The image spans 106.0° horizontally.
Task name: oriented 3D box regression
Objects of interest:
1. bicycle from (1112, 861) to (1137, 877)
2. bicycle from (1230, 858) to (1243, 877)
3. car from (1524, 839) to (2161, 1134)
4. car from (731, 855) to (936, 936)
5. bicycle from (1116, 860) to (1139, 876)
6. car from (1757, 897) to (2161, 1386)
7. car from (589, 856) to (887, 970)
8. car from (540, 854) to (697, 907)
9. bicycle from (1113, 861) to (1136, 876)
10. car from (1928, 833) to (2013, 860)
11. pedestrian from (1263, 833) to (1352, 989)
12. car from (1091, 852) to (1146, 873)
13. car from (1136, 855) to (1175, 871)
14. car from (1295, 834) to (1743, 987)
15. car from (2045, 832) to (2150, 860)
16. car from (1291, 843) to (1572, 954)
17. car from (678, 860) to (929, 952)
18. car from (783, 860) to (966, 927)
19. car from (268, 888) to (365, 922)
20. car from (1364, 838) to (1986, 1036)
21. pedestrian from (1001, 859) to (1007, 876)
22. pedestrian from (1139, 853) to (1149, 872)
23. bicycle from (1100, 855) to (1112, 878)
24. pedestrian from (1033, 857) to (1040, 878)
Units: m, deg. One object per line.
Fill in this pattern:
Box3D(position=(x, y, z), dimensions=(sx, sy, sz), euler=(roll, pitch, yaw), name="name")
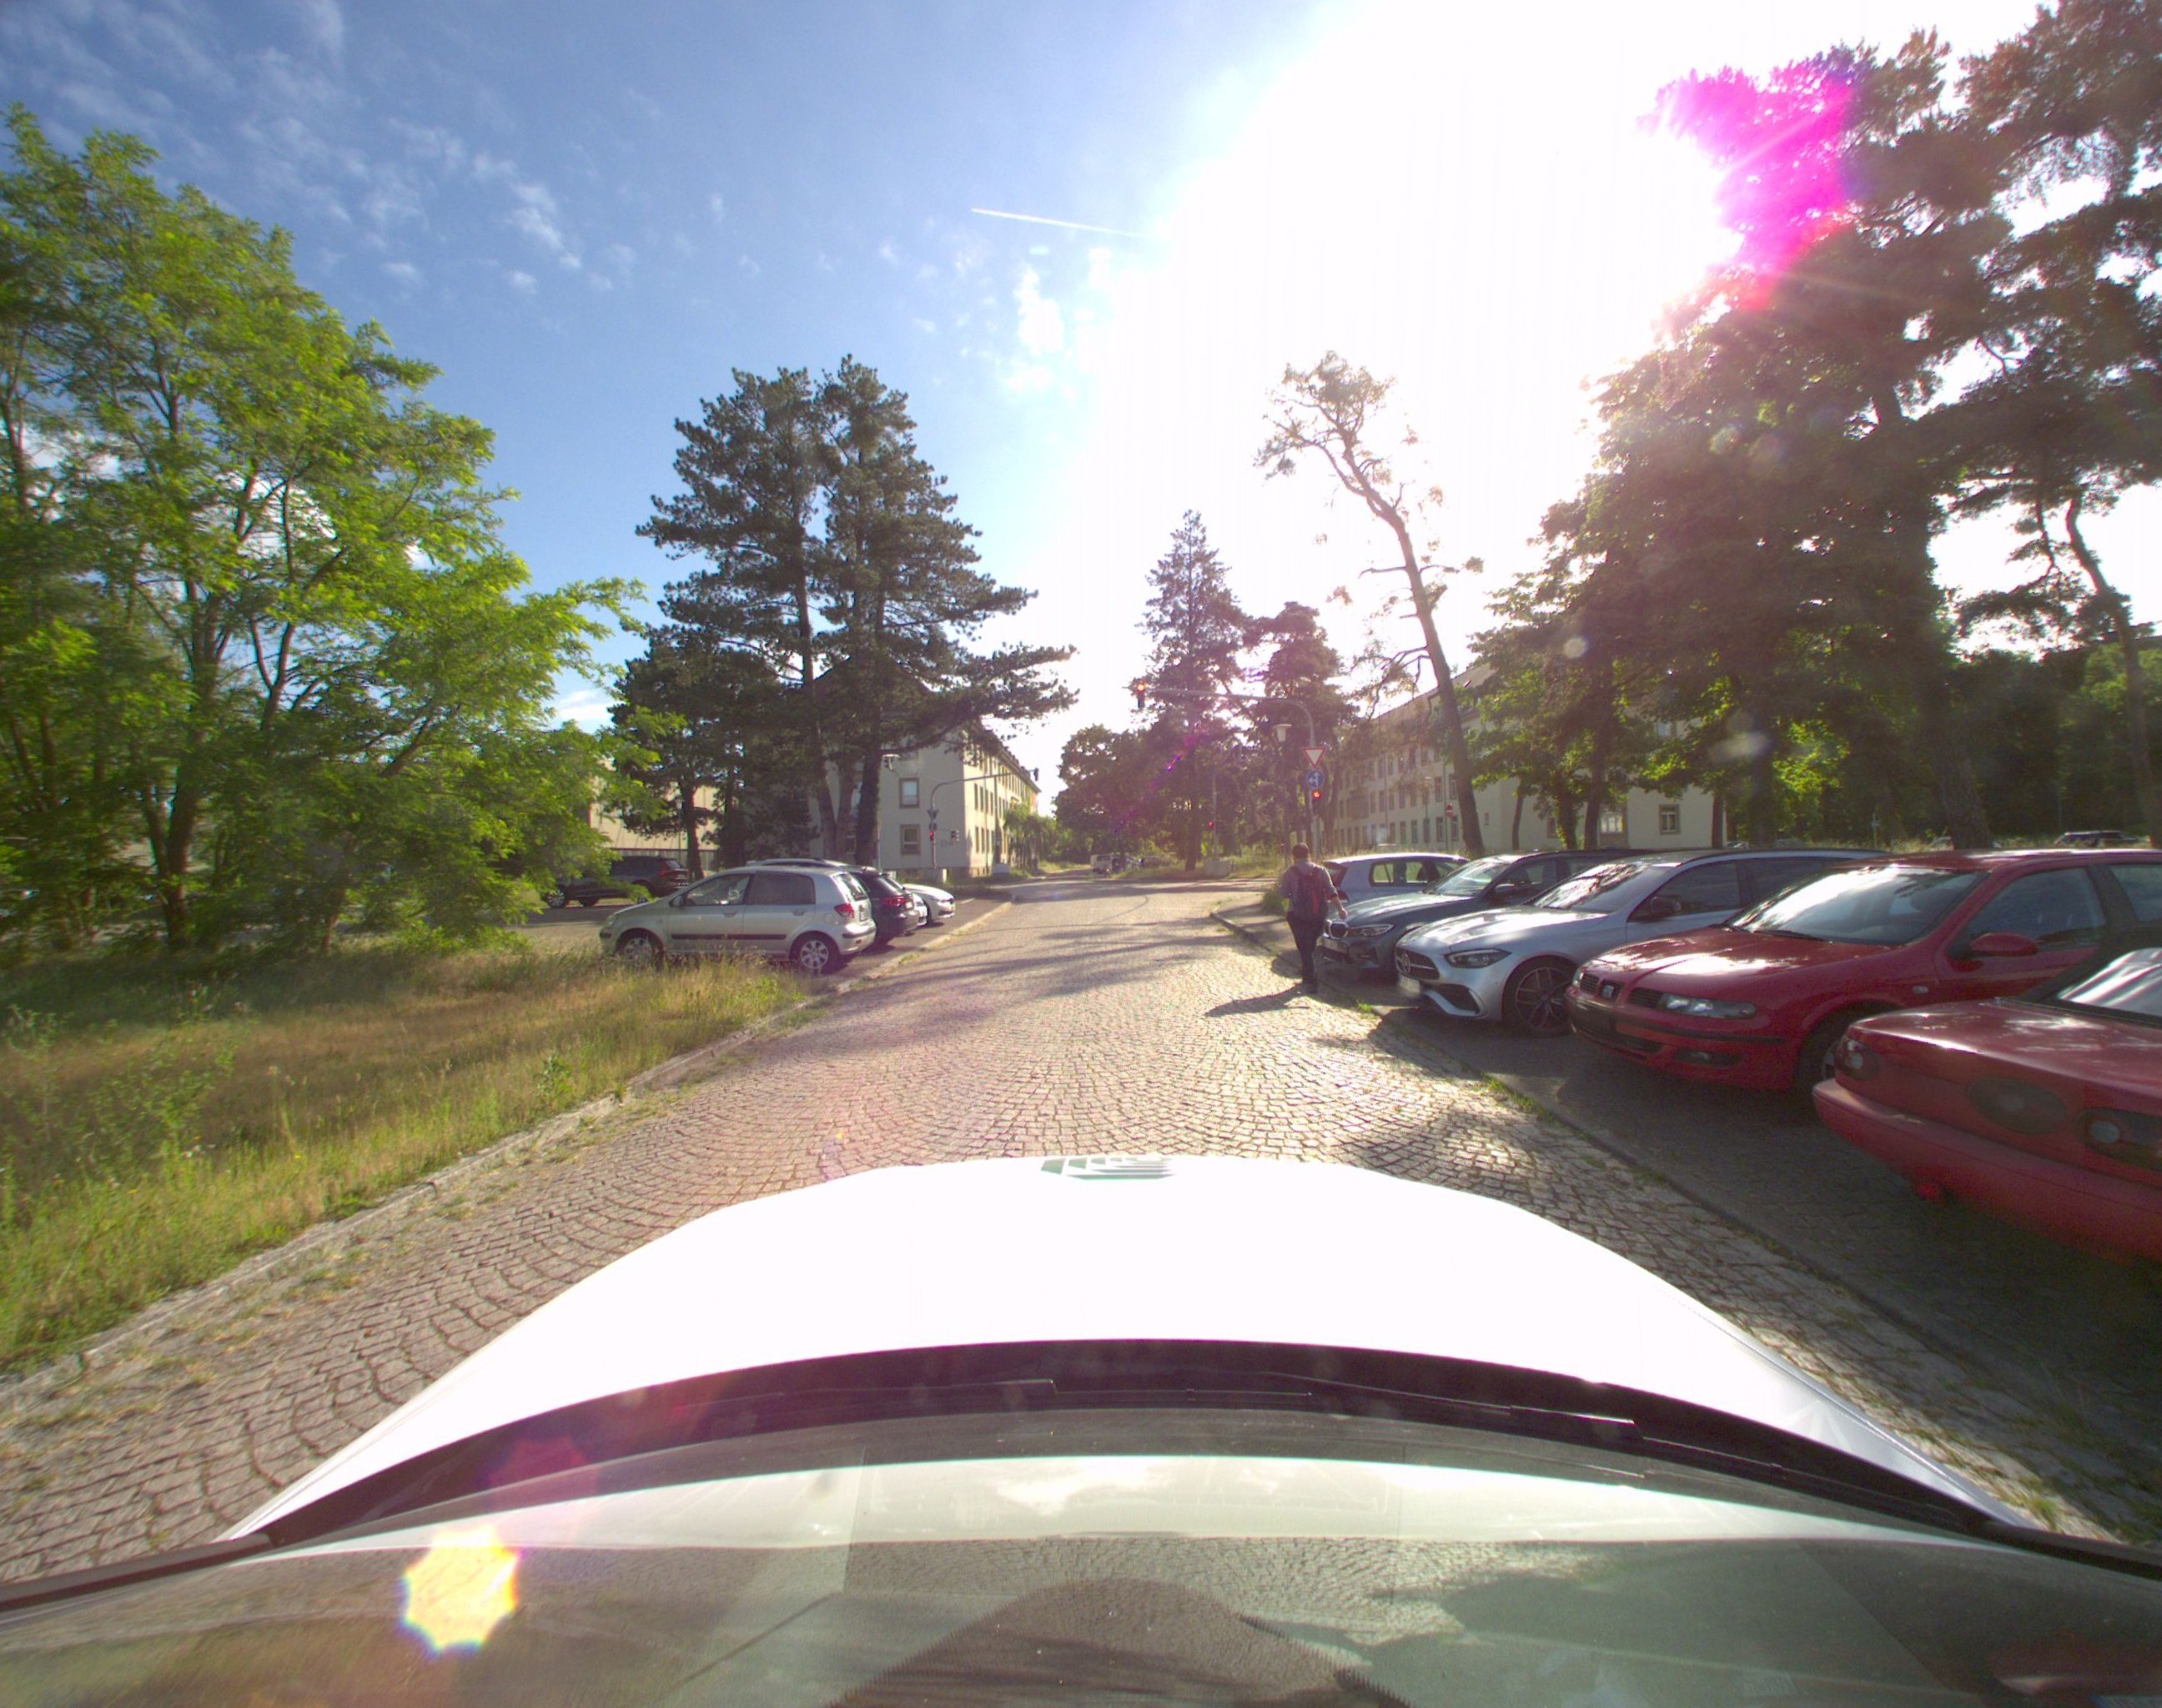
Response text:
Box3D(position=(3.269, 1.130, 61.805), dimensions=(1.829, 1.112, 0.495), euler=(-2, -1, -2), name="bicycle")
Box3D(position=(9.515, 0.822, 49.792), dimensions=(0.717, 1.115, 2.591), euler=(-2, 0, 11), name="bicycle")
Box3D(position=(5.276, 0.704, 5.202), dimensions=(3.965, 1.448, 1.656), euler=(-2, 0, 0), name="car")
Box3D(position=(-5.237, 0.856, 17.582), dimensions=(3.867, 1.615, 1.660), euler=(1, 0, 0), name="car")
Box3D(position=(3.606, 1.093, 63.026), dimensions=(1.723, 1.164, 0.560), euler=(-2, -1, -2), name="bicycle")
Box3D(position=(4.711, 0.809, 2.805), dimensions=(3.447, 1.242, 1.537), euler=(-1, 0, 1), name="car")
Box3D(position=(-4.951, 0.820, 12.143), dimensions=(3.675, 1.527, 1.698), euler=(1, 0, -1), name="car")
Box3D(position=(-15.598, 0.867, 27.639), dimensions=(4.127, 1.608, 2.011), euler=(-2, 0, 2), name="car")
Box3D(position=(3.352, 1.132, 62.348), dimensions=(1.723, 1.112, 0.483), euler=(-2, -1, -2), name="bicycle")
Box3D(position=(59.166, -0.508, 54.205), dimensions=(3.620, 1.671, 1.769), euler=(-2, 0, 3), name="car")
Box3D(position=(2.656, 0.645, 9.622), dimensions=(0.750, 1.725, 0.829), euler=(3, 0, 1), name="pedestrian")
Box3D(position=(3.623, 0.831, 79.729), dimensions=(5.064, 1.918, 1.994), euler=(-1, 0, -8), name="car")
Box3D(position=(7.634, 0.925, 83.563), dimensions=(3.739, 1.580, 1.738), euler=(-1, 0, -6), name="car")
Box3D(position=(5.275, 0.644, 10.265), dimensions=(4.606, 1.455, 1.869), euler=(-4, 0, -1), name="car")
Box3D(position=(58.210, -0.453, 46.689), dimensions=(3.620, 1.498, 1.769), euler=(-2, 0, 3), name="car")
Box3D(position=(5.357, 0.660, 12.803), dimensions=(3.660, 1.443, 1.666), euler=(-3, 0, 1), name="car")
Box3D(position=(-4.911, 0.901, 14.805), dimensions=(3.924, 1.445, 1.691), euler=(2, 0, 0), name="car")
Box3D(position=(-5.038, 0.943, 20.163), dimensions=(3.967, 1.496, 1.775), euler=(1, 0, 6), name="car")
Box3D(position=(-45.976, 3.008, 49.096), dimensions=(1.857, 1.778, 4.007), euler=(-2, 0, 4), name="car")
Box3D(position=(5.129, 0.672, 7.495), dimensions=(4.385, 1.388, 1.789), euler=(-3, 0, 0), name="car")
Box3D(position=(-7.184, 1.272, 75.947), dimensions=(0.606, 1.560, 0.544), euler=(-1, 0, -5), name="pedestrian")
Box3D(position=(6.013, 0.826, 77.959), dimensions=(0.759, 1.783, 0.682), euler=(-1, -1, -6), name="pedestrian")
Box3D(position=(1.777, 0.886, 58.264), dimensions=(0.750, 1.580, 2.537), euler=(-1, 0, 1), name="bicycle")
Box3D(position=(-3.773, 1.164, 69.058), dimensions=(0.605, 1.752, 0.629), euler=(-1, 0, -4), name="pedestrian")
